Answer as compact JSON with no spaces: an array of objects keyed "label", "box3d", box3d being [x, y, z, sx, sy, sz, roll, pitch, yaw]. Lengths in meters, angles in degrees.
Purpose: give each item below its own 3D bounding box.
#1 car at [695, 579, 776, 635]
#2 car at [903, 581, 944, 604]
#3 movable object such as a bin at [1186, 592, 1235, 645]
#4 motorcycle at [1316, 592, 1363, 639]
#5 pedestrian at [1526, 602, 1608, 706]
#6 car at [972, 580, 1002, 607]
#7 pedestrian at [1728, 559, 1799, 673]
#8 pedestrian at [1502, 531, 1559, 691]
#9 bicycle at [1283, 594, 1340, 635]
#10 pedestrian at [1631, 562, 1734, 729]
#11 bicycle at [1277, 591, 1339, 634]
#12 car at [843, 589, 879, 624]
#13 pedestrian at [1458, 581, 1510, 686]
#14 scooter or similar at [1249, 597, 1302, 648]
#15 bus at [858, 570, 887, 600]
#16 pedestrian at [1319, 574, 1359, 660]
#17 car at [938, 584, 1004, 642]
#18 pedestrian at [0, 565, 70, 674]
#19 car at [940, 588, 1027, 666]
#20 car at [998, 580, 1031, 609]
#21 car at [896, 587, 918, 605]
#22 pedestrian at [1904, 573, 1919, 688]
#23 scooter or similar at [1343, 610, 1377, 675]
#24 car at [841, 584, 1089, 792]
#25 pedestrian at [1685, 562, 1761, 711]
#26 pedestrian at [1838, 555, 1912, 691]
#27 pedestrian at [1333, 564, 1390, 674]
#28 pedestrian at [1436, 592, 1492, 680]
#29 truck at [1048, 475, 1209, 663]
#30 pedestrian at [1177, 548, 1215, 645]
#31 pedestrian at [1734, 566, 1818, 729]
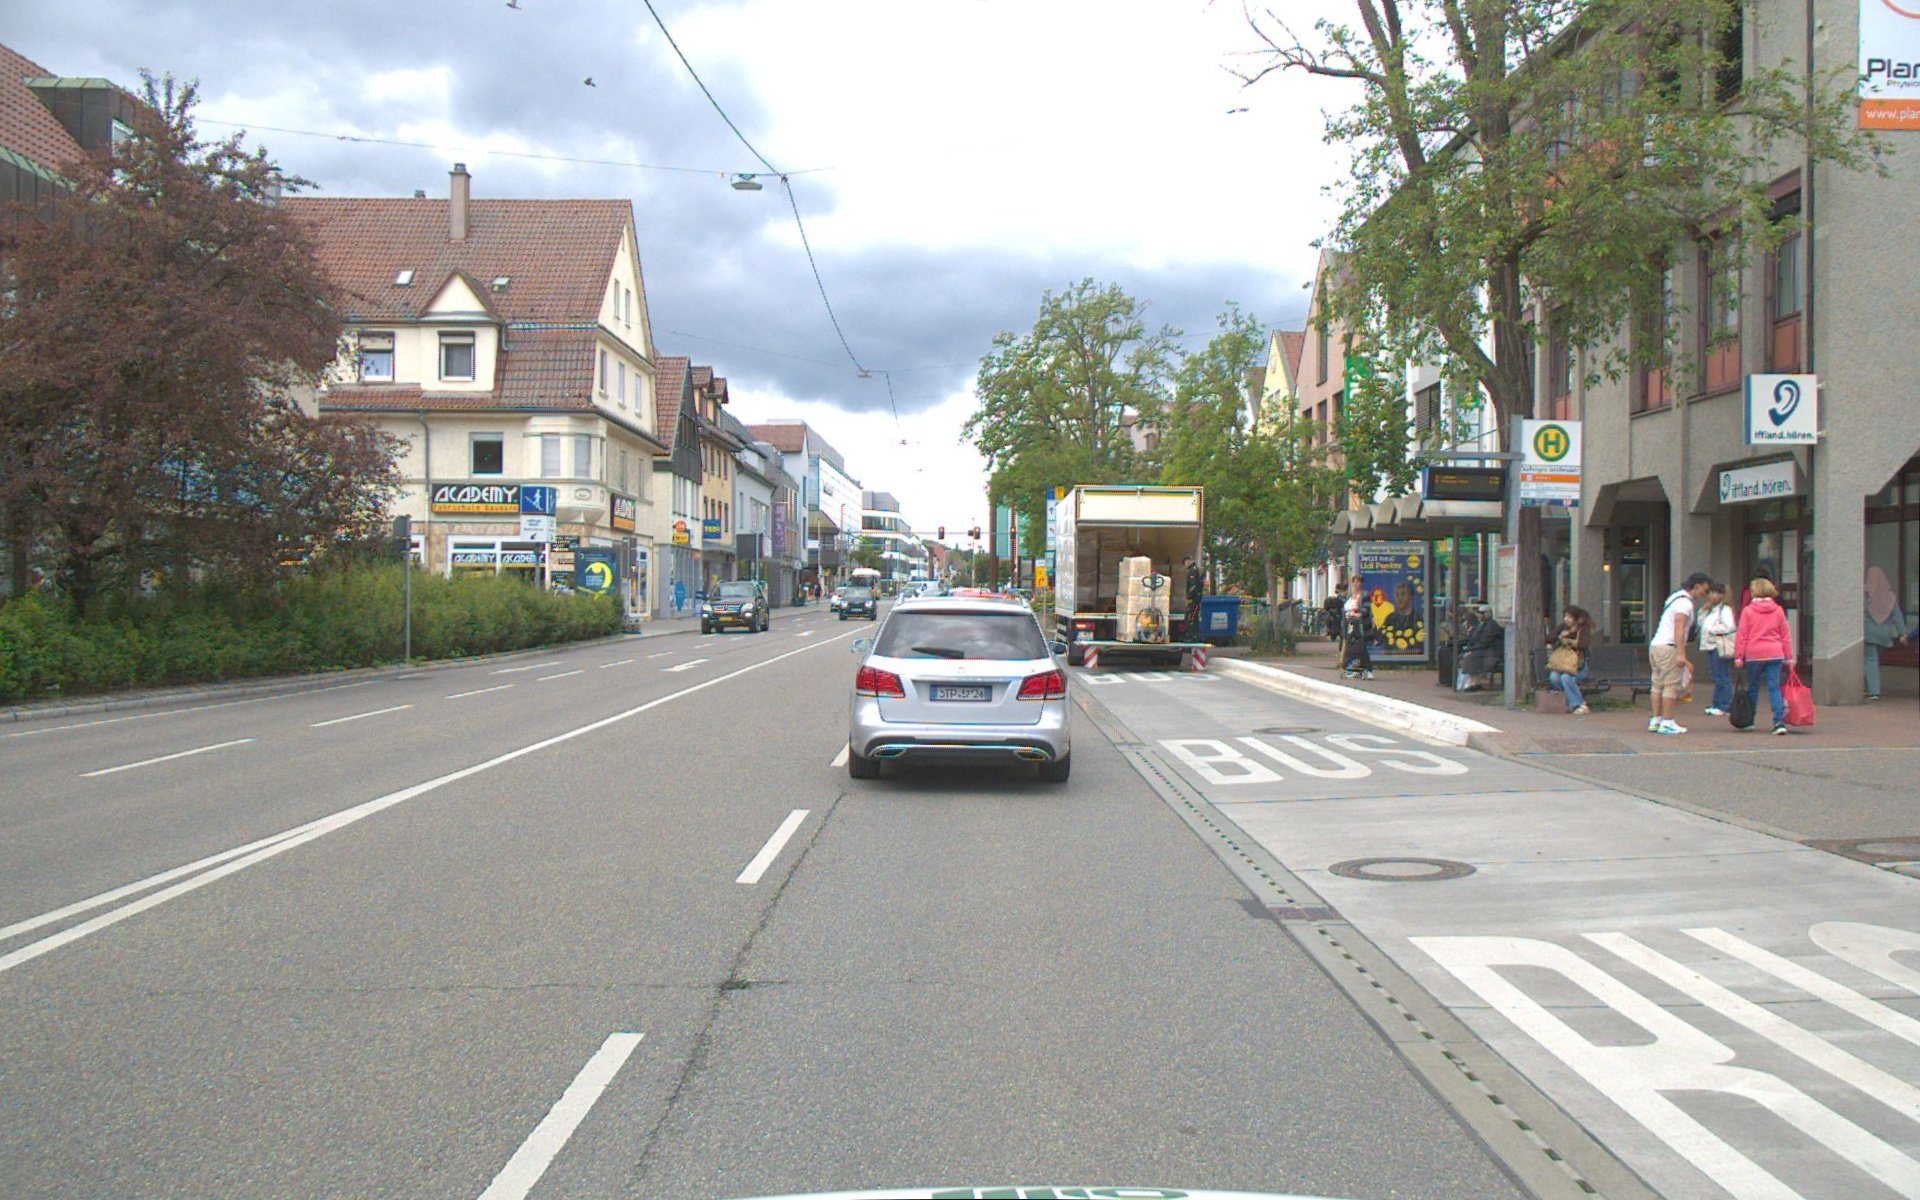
[{"label":"car","box3d":[-7.693,0.209,57.120,2.026,1.768,4.693,-2,0,1]},{"label":"car","box3d":[-3.221,-0.688,145.885,1.920,1.995,5.142,-1,0,19]},{"label":"movable object such as a bin","box3d":[6.528,0.467,43.173,1.120,1.363,1.376,0,0,2]},{"label":"motorcycle","box3d":[10.637,0.420,46.460,0.722,1.293,2.106,0,0,-3]},{"label":"pedestrian","box3d":[7.137,0.632,19.469,0.698,1.186,0.587,1,1,-6]},{"label":"car","box3d":[1.772,-0.450,108.479,1.952,1.713,4.000,0,0,1]},{"label":"pedestrian","box3d":[11.869,0.232,24.444,0.712,1.663,0.614,0,0,-8]},{"label":"pedestrian","box3d":[7.582,0.146,21.997,0.600,2.083,0.588,-2,-1,13]},{"label":"bicycle","box3d":[11.048,0.448,52.040,1.641,1.281,0.669,0,0,-3]},{"label":"pedestrian","box3d":[7.364,0.442,16.877,0.602,1.663,0.792,0,1,-12]},{"label":"bicycle","box3d":[11.142,0.405,52.936,1.780,1.350,0.843,0,0,-3]},{"label":"car","box3d":[-4.601,0.298,77.198,1.538,1.567,2.959,1,0,-2]},{"label":"pedestrian","box3d":[7.286,0.465,23.025,0.600,1.425,0.588,-2,-1,13]},{"label":"scooter or similar","box3d":[7.624,0.548,39.986,1.154,1.217,0.459,0,0,-9]},{"label":"bus","box3d":[-9.408,-1.630,178.080,2.718,3.220,5.933,0,0,1]},{"label":"pedestrian","box3d":[7.988,0.352,34.845,0.601,1.770,0.587,3,0,-3]},{"label":"car","box3d":[0.353,0.370,51.259,1.952,1.713,4.000,0,0,1]},{"label":"pedestrian","box3d":[-15.887,0.329,28.353,0.710,1.794,0.756,4,1,4]},{"label":"car","box3d":[0.490,0.532,34.942,1.718,1.547,4.000,0,0,0]},{"label":"car","box3d":[3.334,-0.326,101.097,1.952,1.713,4.000,0,0,1]},{"label":"car","box3d":[-4.362,-0.323,136.360,1.583,1.453,3.923,-1,0,1]},{"label":"pedestrian","box3d":[11.992,0.379,20.204,0.574,1.399,0.615,1,0,2]},{"label":"scooter or similar","box3d":[6.109,0.647,25.243,0.382,0.976,0.350,-1,0,-41]},{"label":"car","box3d":[-0.007,0.651,14.355,1.836,1.532,3.999,1,0,-1]},{"label":"pedestrian","box3d":[8.639,0.404,18.750,0.600,1.663,0.588,1,0,5]},{"label":"pedestrian","box3d":[11.391,0.280,20.602,0.574,1.663,0.615,0,0,1]},{"label":"pedestrian","box3d":[6.216,0.290,25.623,0.527,1.663,0.584,3,1,-24]},{"label":"pedestrian","box3d":[7.410,0.519,24.330,0.685,1.254,0.588,-2,0,9]},{"label":"truck","box3d":[3.531,-0.646,36.898,2.633,3.623,9.767,0,0,0]},{"label":"pedestrian","box3d":[4.454,-0.065,31.273,0.601,1.811,0.587,0,-1,-3]},{"label":"pedestrian","box3d":[8.203,0.461,16.650,0.658,1.594,0.492,2,2,20]}]
